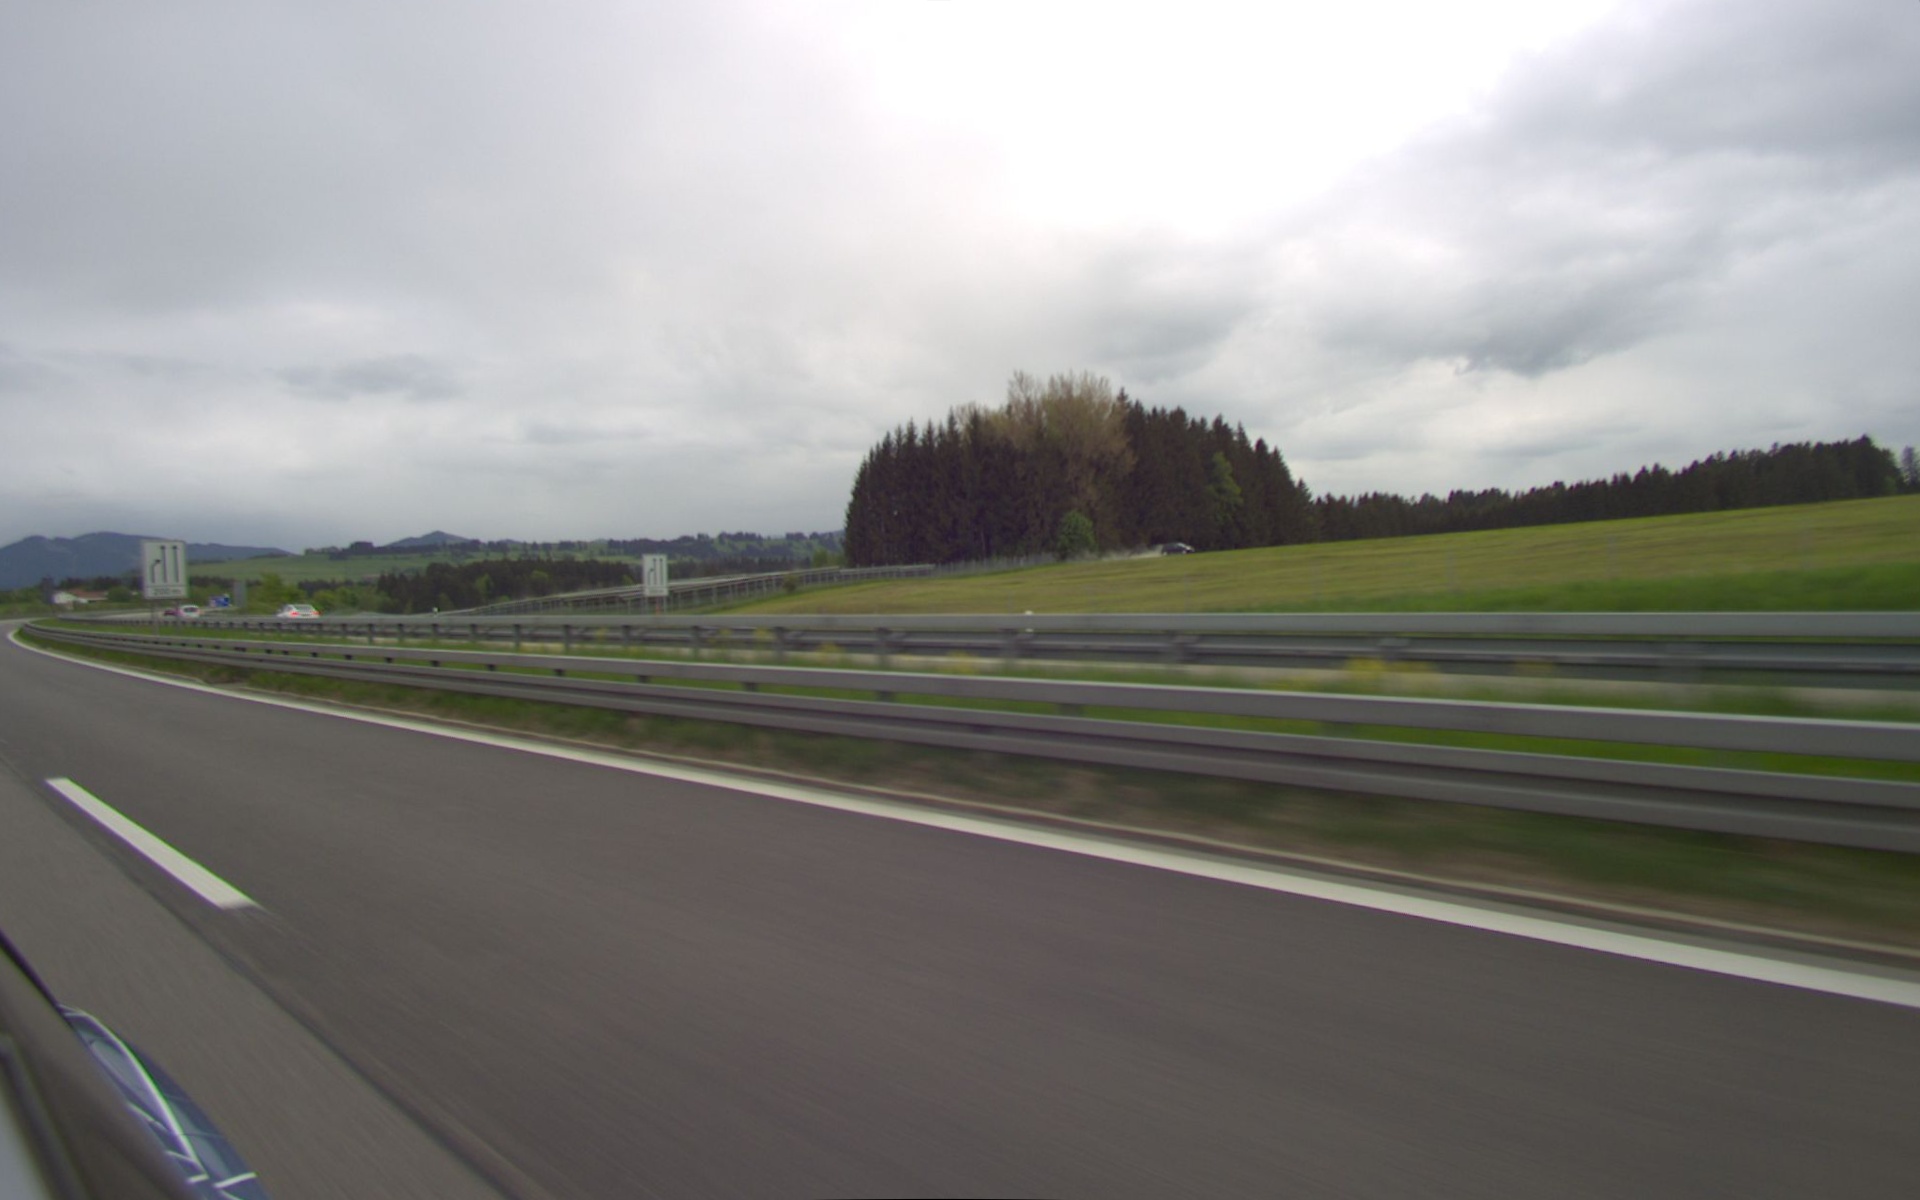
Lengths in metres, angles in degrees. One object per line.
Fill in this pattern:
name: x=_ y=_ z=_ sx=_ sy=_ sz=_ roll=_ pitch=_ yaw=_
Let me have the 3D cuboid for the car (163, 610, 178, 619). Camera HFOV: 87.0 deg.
car: x=-146.957 y=2.742 z=188.484 sx=1.968 sy=1.450 sz=5.011 roll=-4 pitch=2 yaw=-36

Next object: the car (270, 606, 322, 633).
car: x=-46.556 y=1.367 z=70.889 sx=2.012 sy=1.703 sz=5.058 roll=-5 pitch=2 yaw=-44

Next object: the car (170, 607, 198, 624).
car: x=-85.152 y=1.703 z=111.003 sx=1.970 sy=1.698 sz=4.632 roll=-5 pitch=2 yaw=-42
